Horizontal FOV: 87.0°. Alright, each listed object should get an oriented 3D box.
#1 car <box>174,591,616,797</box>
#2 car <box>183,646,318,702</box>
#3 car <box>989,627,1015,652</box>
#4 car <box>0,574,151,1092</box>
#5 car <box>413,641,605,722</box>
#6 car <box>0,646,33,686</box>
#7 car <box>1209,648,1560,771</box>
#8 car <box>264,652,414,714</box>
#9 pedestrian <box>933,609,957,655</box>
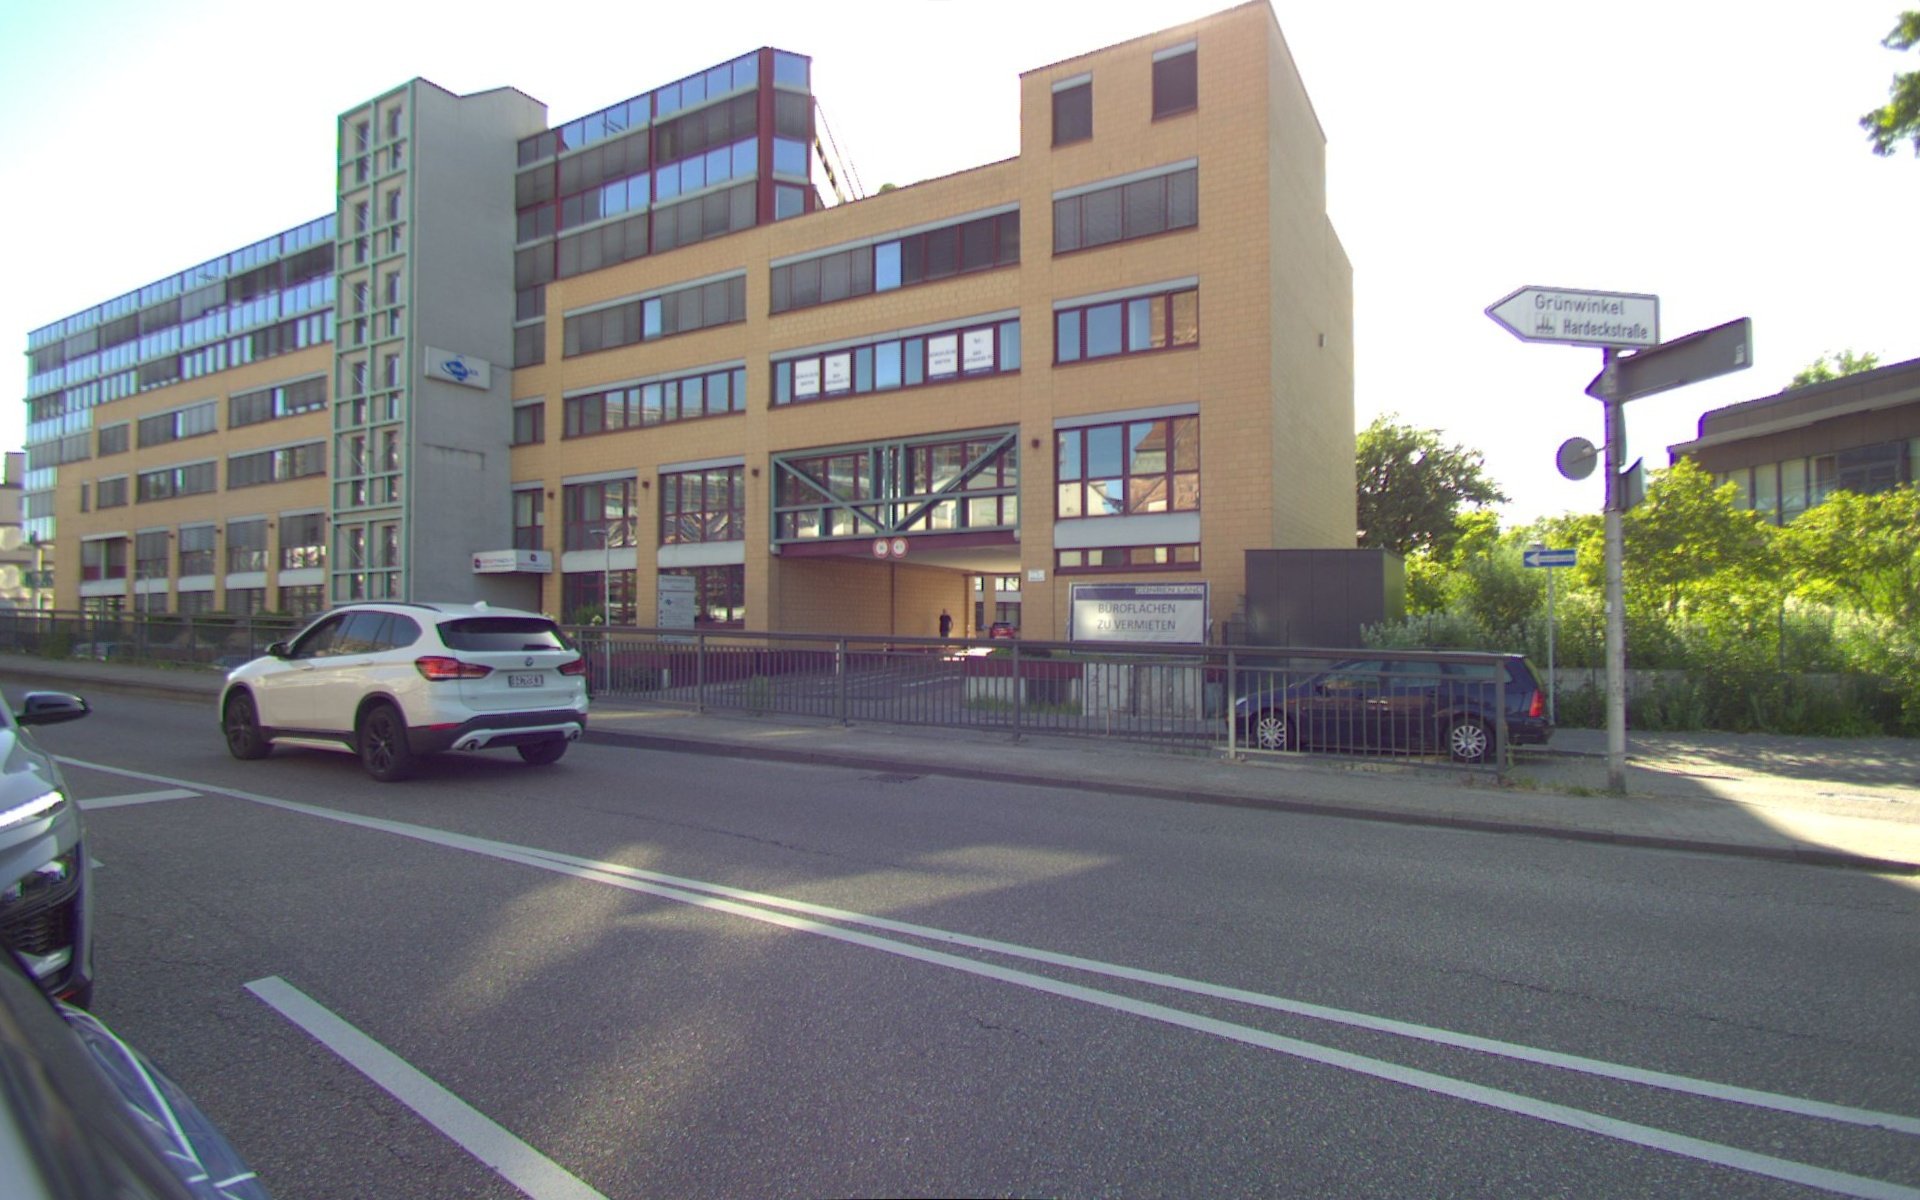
[{"bbox_3d":[-5.819,0.791,10.275,4.611,1.666,1.820,1,-2,31],"label":"car"},{"bbox_3d":[-22.244,2.256,31.694,4.340,1.616,1.807,-1,-3,30],"label":"car"},{"bbox_3d":[2.763,2.601,66.723,1.621,1.586,3.150,-1,-2,2],"label":"car"},{"bbox_3d":[-4.877,0.724,4.077,4.219,1.582,1.825,-1,-1,42],"label":"car"},{"bbox_3d":[-11.143,1.928,24.936,4.667,1.771,1.938,-1,-1,29],"label":"car"},{"bbox_3d":[-41.473,2.786,43.096,3.988,1.674,1.977,-1,-3,33],"label":"car"},{"bbox_3d":[6.068,1.466,14.686,4.438,1.515,1.805,-2,-3,33],"label":"car"},{"bbox_3d":[-17.730,2.310,28.857,4.340,1.616,1.807,-1,-3,30],"label":"car"},{"bbox_3d":[-0.618,1.303,41.283,0.676,1.858,0.779,-2,-3,28],"label":"pedestrian"}]
